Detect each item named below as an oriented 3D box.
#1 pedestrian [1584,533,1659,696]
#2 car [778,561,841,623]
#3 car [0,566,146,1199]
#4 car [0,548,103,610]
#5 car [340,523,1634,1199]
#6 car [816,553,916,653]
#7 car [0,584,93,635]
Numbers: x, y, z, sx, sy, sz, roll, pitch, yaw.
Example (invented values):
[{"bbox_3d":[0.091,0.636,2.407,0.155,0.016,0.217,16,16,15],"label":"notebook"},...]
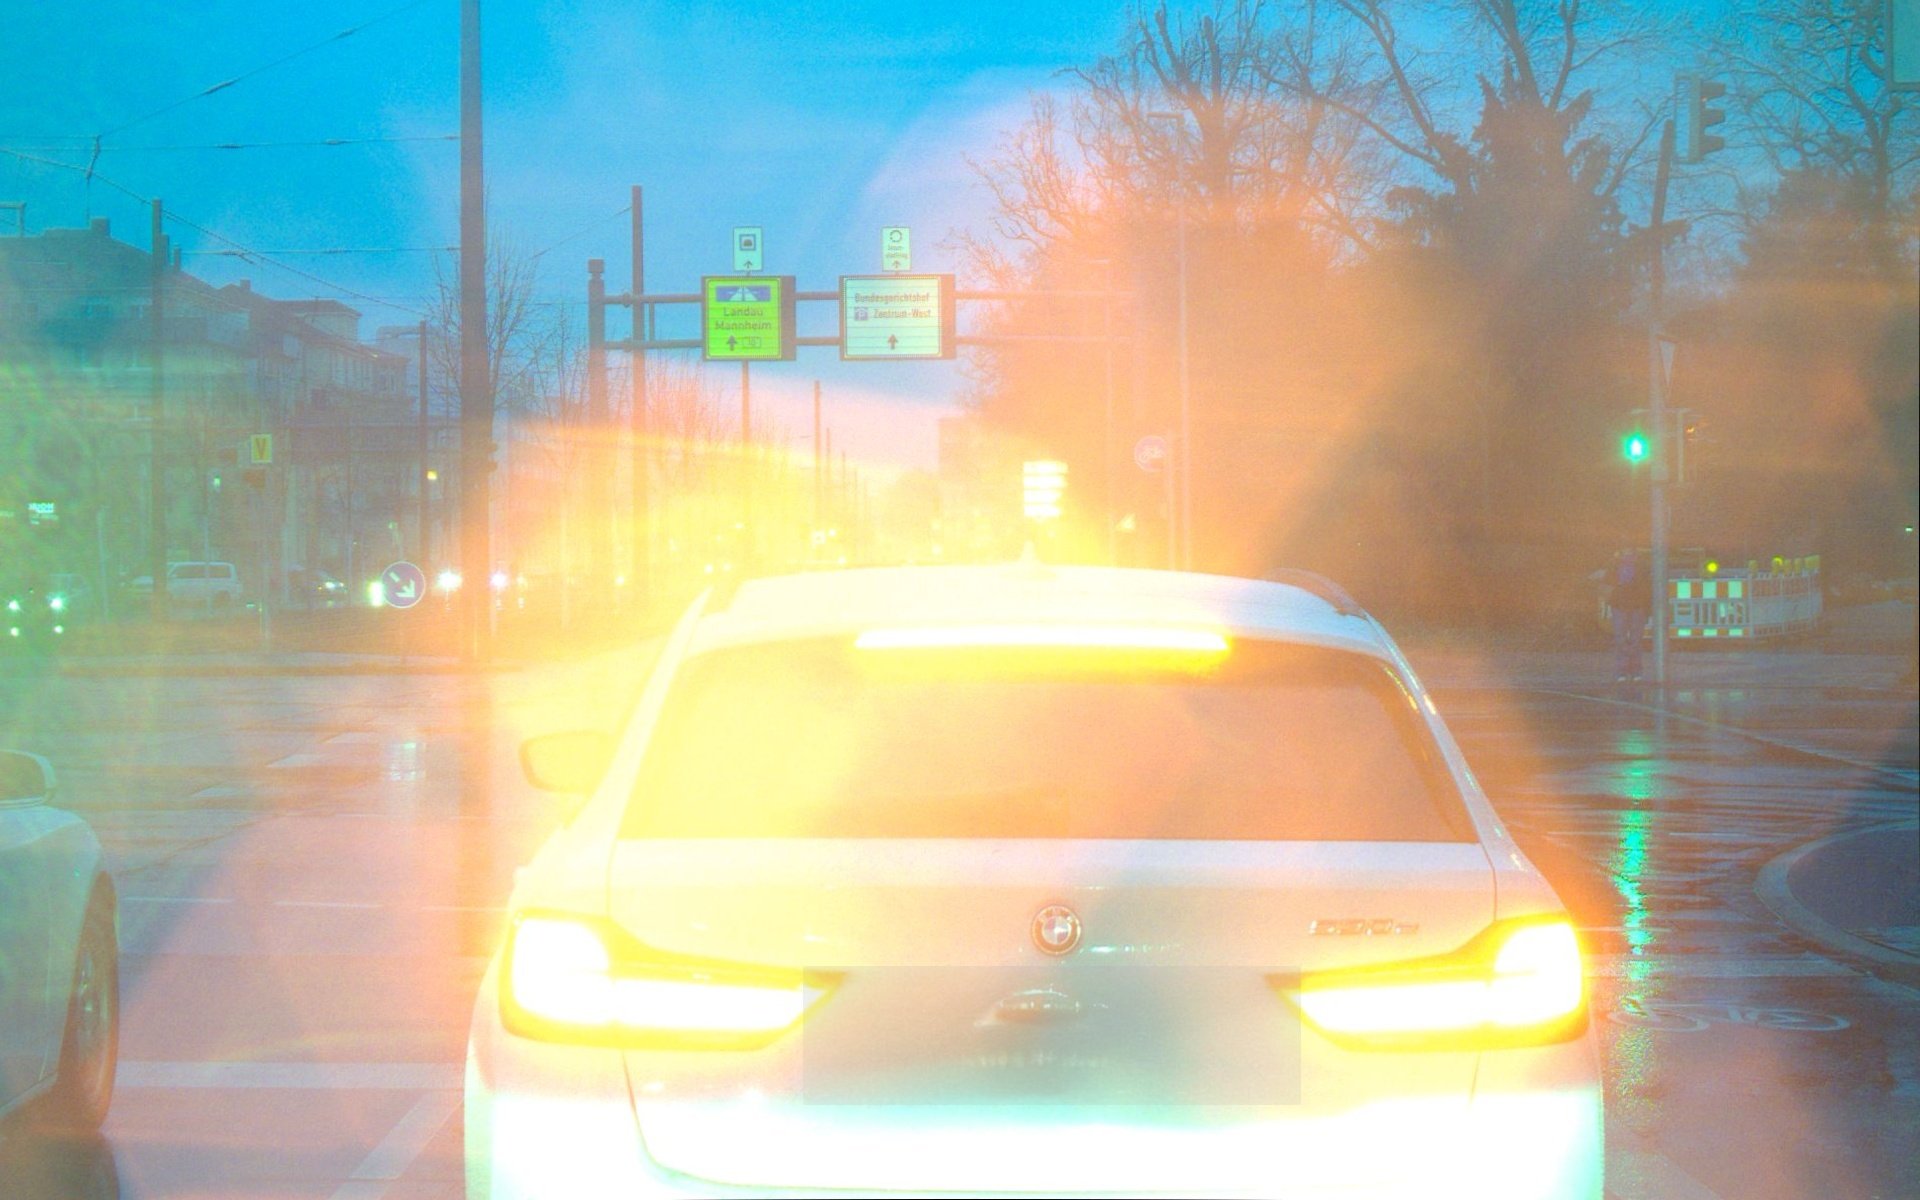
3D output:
[{"bbox_3d":[7.671,0.163,39.885,0.673,1.873,0.715,1,0,-3],"label":"pedestrian"},{"bbox_3d":[-5.054,-0.291,115.879,1.993,2.007,4.000,1,1,-1],"label":"car"},{"bbox_3d":[-2.957,0.658,6.997,1.759,1.464,4.252,1,1,-3],"label":"car"},{"bbox_3d":[-22.579,-0.541,84.702,1.993,1.457,5.096,1,1,-4],"label":"car"},{"bbox_3d":[-0.061,0.658,6.826,1.759,1.547,4.252,1,1,-3],"label":"car"},{"bbox_3d":[-1.924,0.038,71.444,1.993,2.007,4.000,1,1,-1],"label":"car"},{"bbox_3d":[-28.082,0.277,105.253,1.993,1.457,5.095,1,1,-2],"label":"car"}]
